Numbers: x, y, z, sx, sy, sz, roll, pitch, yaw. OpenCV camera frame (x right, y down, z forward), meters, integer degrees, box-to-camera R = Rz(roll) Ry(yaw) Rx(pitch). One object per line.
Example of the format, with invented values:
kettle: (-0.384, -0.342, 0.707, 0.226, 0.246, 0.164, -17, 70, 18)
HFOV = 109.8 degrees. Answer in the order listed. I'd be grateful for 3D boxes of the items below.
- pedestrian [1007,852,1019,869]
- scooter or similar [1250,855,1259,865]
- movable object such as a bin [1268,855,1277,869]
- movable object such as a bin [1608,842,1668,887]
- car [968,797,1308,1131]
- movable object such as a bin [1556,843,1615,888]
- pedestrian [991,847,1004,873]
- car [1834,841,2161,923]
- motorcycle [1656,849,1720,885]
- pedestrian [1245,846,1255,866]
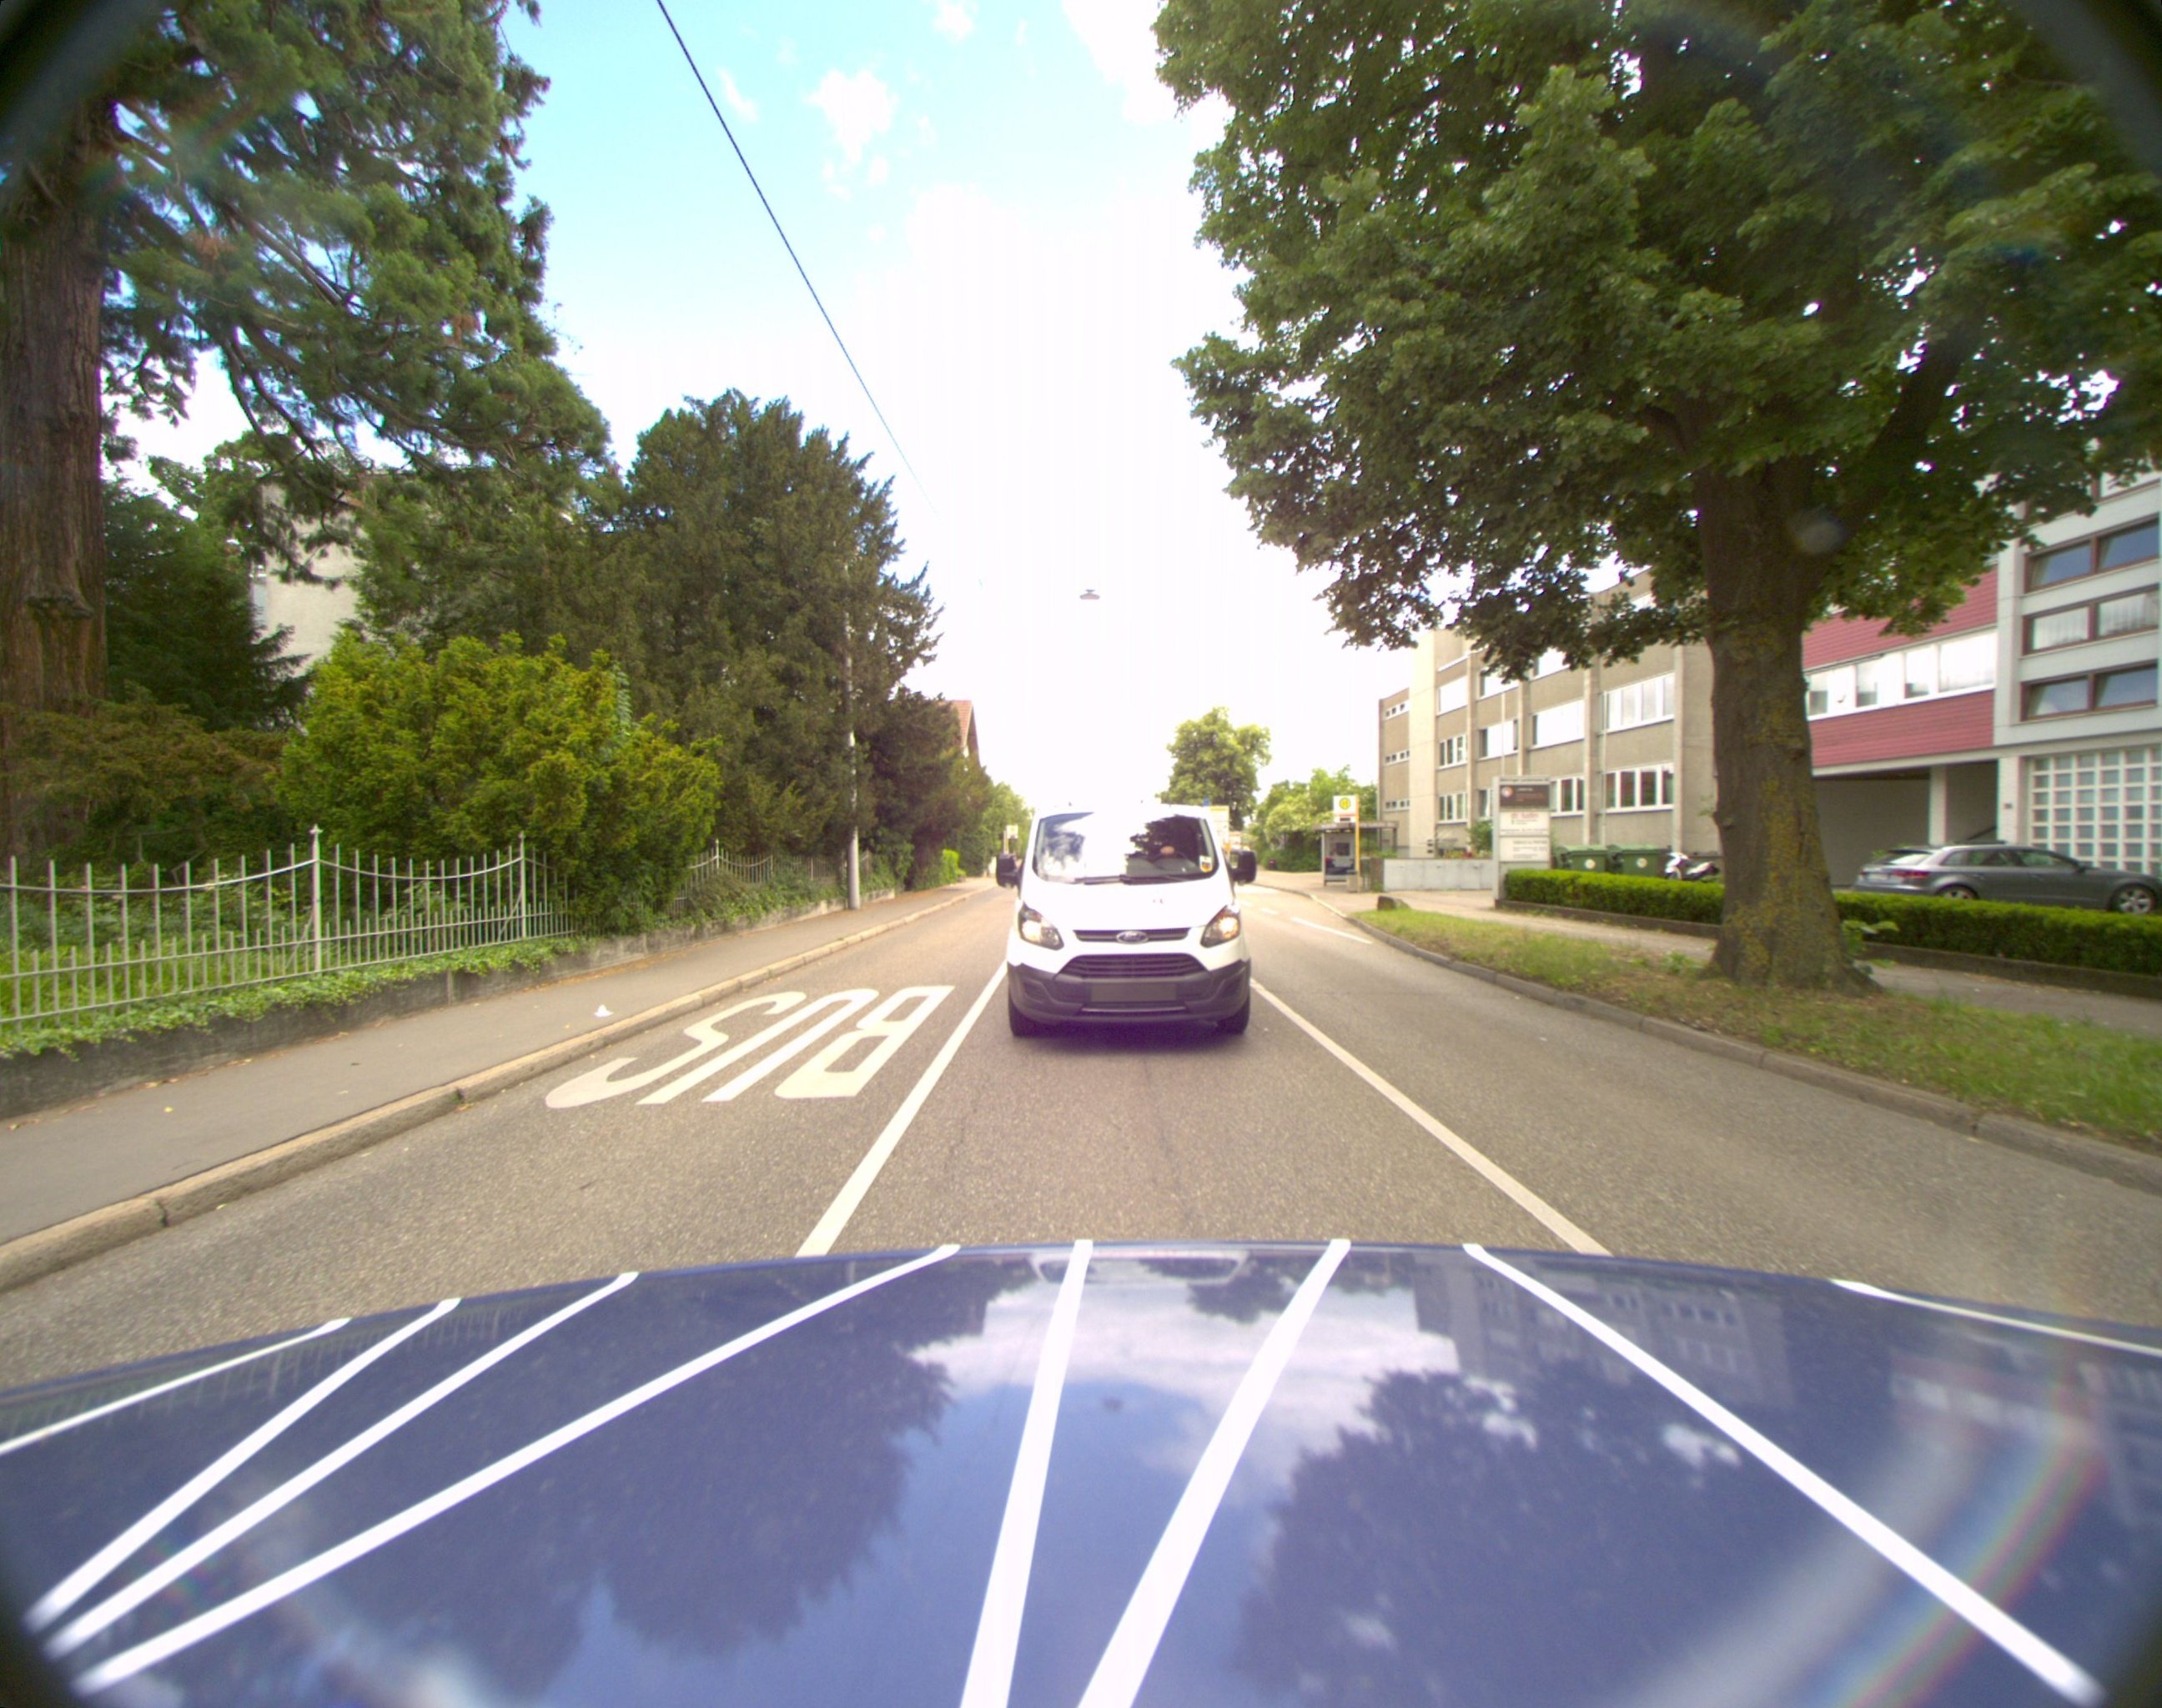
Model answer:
pedestrian: (-5.320, 0.508, 59.223, 0.916, 1.244, 0.789, 2, 1, -5)
scooter or similar: (13.561, 0.466, 59.351, 0.607, 0.782, 0.860, -1, 1, 17)
movable object such as a bin: (13.584, 0.557, 53.850, 0.566, 0.922, 0.608, -1, 2, 16)
movable object such as a bin: (18.673, 0.335, 25.491, 1.365, 1.457, 0.884, -2, 2, 1)
car: (0.318, 0.614, 7.457, 1.999, 1.961, 5.713, -2, 1, -1)
movable object such as a bin: (16.969, 0.368, 25.569, 1.301, 1.457, 0.992, -2, 2, 1)
pedestrian: (-5.721, 0.421, 51.869, 0.488, 1.757, 0.672, -1, 2, 32)
car: (18.309, 0.556, 15.290, 4.143, 1.471, 1.814, -2, 1, 15)
motorcycle: (20.395, 0.445, 25.545, 1.645, 1.133, 0.639, -2, 2, 1)
pedestrian: (13.419, 0.146, 60.435, 0.672, 1.549, 0.520, -1, 2, 18)
